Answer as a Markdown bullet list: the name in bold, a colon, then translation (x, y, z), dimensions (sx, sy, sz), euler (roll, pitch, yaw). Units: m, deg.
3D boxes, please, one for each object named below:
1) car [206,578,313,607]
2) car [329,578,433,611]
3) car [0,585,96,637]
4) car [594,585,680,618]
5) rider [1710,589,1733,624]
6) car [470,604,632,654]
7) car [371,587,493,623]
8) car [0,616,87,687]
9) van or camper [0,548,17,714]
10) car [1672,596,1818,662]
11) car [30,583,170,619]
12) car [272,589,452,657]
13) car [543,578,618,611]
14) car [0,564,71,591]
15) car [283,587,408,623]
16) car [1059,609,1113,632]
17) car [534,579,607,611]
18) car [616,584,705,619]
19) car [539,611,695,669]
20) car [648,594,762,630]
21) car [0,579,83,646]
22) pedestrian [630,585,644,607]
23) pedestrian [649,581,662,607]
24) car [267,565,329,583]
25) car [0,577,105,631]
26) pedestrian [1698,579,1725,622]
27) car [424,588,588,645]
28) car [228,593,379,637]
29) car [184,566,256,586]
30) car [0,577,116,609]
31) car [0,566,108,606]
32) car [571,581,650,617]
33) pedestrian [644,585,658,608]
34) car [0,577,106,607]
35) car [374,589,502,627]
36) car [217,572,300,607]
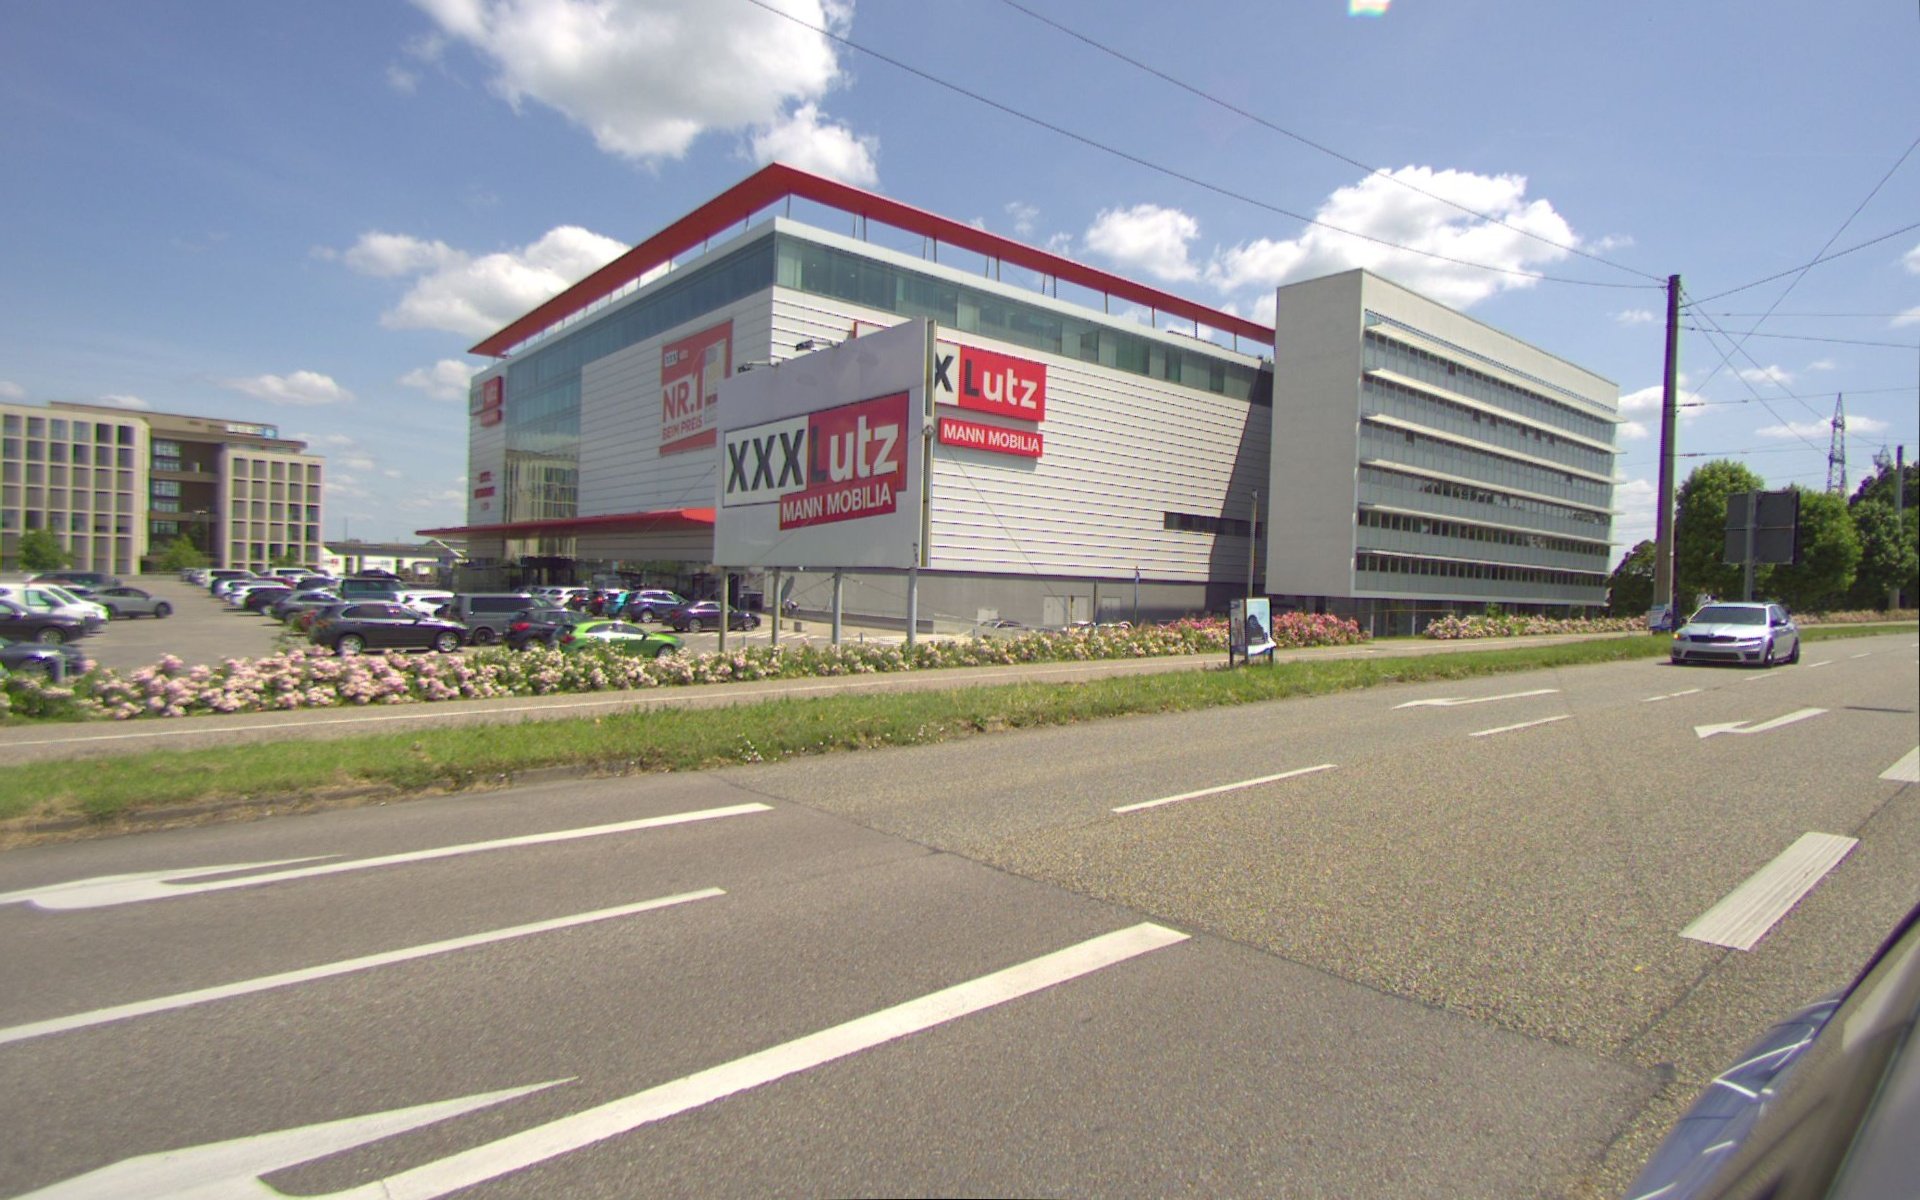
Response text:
- **car**: translation (-40.757, -0.435, 58.945), dimensions (4.914, 1.631, 1.997), euler (0, 0, -41)
- **car**: translation (-34.449, -0.360, 60.266), dimensions (5.095, 1.888, 1.996), euler (0, 0, -43)
- **car**: translation (-35.019, 0.378, 37.248), dimensions (4.914, 1.876, 1.997), euler (0, 0, -41)
- **car**: translation (-18.256, 0.107, 57.289), dimensions (4.257, 1.804, 1.996), euler (0, -1, -41)
- **rider**: translation (32.329, 0.284, 42.986), dimensions (0.608, 1.476, 0.670), euler (0, 0, -41)
- **car**: translation (-14.197, 0.942, 35.299), dimensions (4.914, 1.570, 1.997), euler (0, 0, -41)
- **car**: translation (-25.433, 0.220, 48.853), dimensions (4.914, 1.671, 1.997), euler (0, 0, -41)
- **car**: translation (-23.816, 1.232, 23.999), dimensions (4.686, 1.556, 1.997), euler (0, 2, -41)
- **van or camper**: translation (-20.998, 0.578, 17.151), dimensions (7.090, 3.058, 2.514), euler (0, 0, -38)
- **car**: translation (17.838, 0.597, 22.947), dimensions (3.930, 1.355, 1.895), euler (0, 1, -41)
- **car**: translation (-40.855, 0.039, 48.256), dimensions (1.968, 1.631, 4.985), euler (0, 0, 10)
- **car**: translation (-19.859, 0.689, 33.734), dimensions (4.914, 2.038, 1.997), euler (0, 2, -41)
- **car**: translation (-23.646, -0.351, 63.066), dimensions (3.931, 2.039, 1.997), euler (0, 0, -42)
- **car**: translation (-64.408, -1.564, 70.344), dimensions (3.931, 1.862, 1.825), euler (-1, 1, -42)
- **car**: translation (-29.722, 0.217, 49.007), dimensions (4.915, 1.631, 1.996), euler (0, 0, -42)
- **car**: translation (9.636, 1.548, 77.073), dimensions (3.931, 1.632, 1.997), euler (-1, 1, -42)
- **car**: translation (-25.099, -0.352, 65.282), dimensions (3.931, 2.039, 1.997), euler (-1, 1, -42)
- **car**: translation (-16.264, 0.081, 55.075), dimensions (4.257, 1.804, 1.996), euler (0, -1, -41)
- **car**: translation (-10.842, 1.209, 32.135), dimensions (4.228, 1.514, 1.998), euler (0, 4, -41)
- **car**: translation (-12.104, 0.533, 48.279), dimensions (4.914, 1.631, 1.997), euler (0, 0, -41)
- **car**: translation (-32.099, 0.396, 33.259), dimensions (4.914, 2.161, 1.997), euler (0, 0, -41)
- **pedestrian**: translation (-23.462, -0.288, 73.492), dimensions (0.723, 1.577, 0.741), euler (0, 0, -43)
- **pedestrian**: translation (-22.353, -0.429, 74.290), dimensions (0.723, 1.893, 0.741), euler (0, 0, -43)
- **car**: translation (-64.837, -2.541, 99.172), dimensions (4.914, 1.631, 1.997), euler (0, 0, -41)
- **car**: translation (-36.519, 0.137, 39.392), dimensions (4.914, 2.032, 1.997), euler (0, 0, -41)
- **pedestrian**: translation (33.159, 0.032, 44.638), dimensions (0.914, 1.872, 0.758), euler (0, 0, -39)
- **car**: translation (-17.372, 0.581, 38.916), dimensions (5.438, 2.039, 1.997), euler (0, 0, -41)
- **car**: translation (-26.542, 0.557, 41.011), dimensions (4.914, 1.630, 1.997), euler (0, 2, -41)
- **car**: translation (-63.615, -2.046, 87.037), dimensions (4.914, 1.631, 1.997), euler (0, 0, -41)
- **car**: translation (-47.300, -0.376, 52.851), dimensions (4.914, 1.631, 1.997), euler (0, 0, -41)
- **car**: translation (-55.458, -0.855, 62.042), dimensions (4.914, 2.332, 1.997), euler (0, 0, -41)
- **car**: translation (-20.272, -0.093, 58.789), dimensions (3.931, 2.039, 1.997), euler (-1, 1, -42)
- **pedestrian**: translation (-22.236, -0.253, 72.860), dimensions (0.723, 1.577, 0.741), euler (0, 0, -43)
- **car**: translation (-52.374, -0.457, 58.246), dimensions (4.914, 1.631, 1.997), euler (0, 0, -41)
- **car**: translation (-23.904, 0.338, 46.468), dimensions (4.914, 1.631, 1.997), euler (0, 0, -41)
- **car**: translation (-42.235, -0.659, 60.944), dimensions (3.931, 2.039, 1.997), euler (0, 1, -42)
